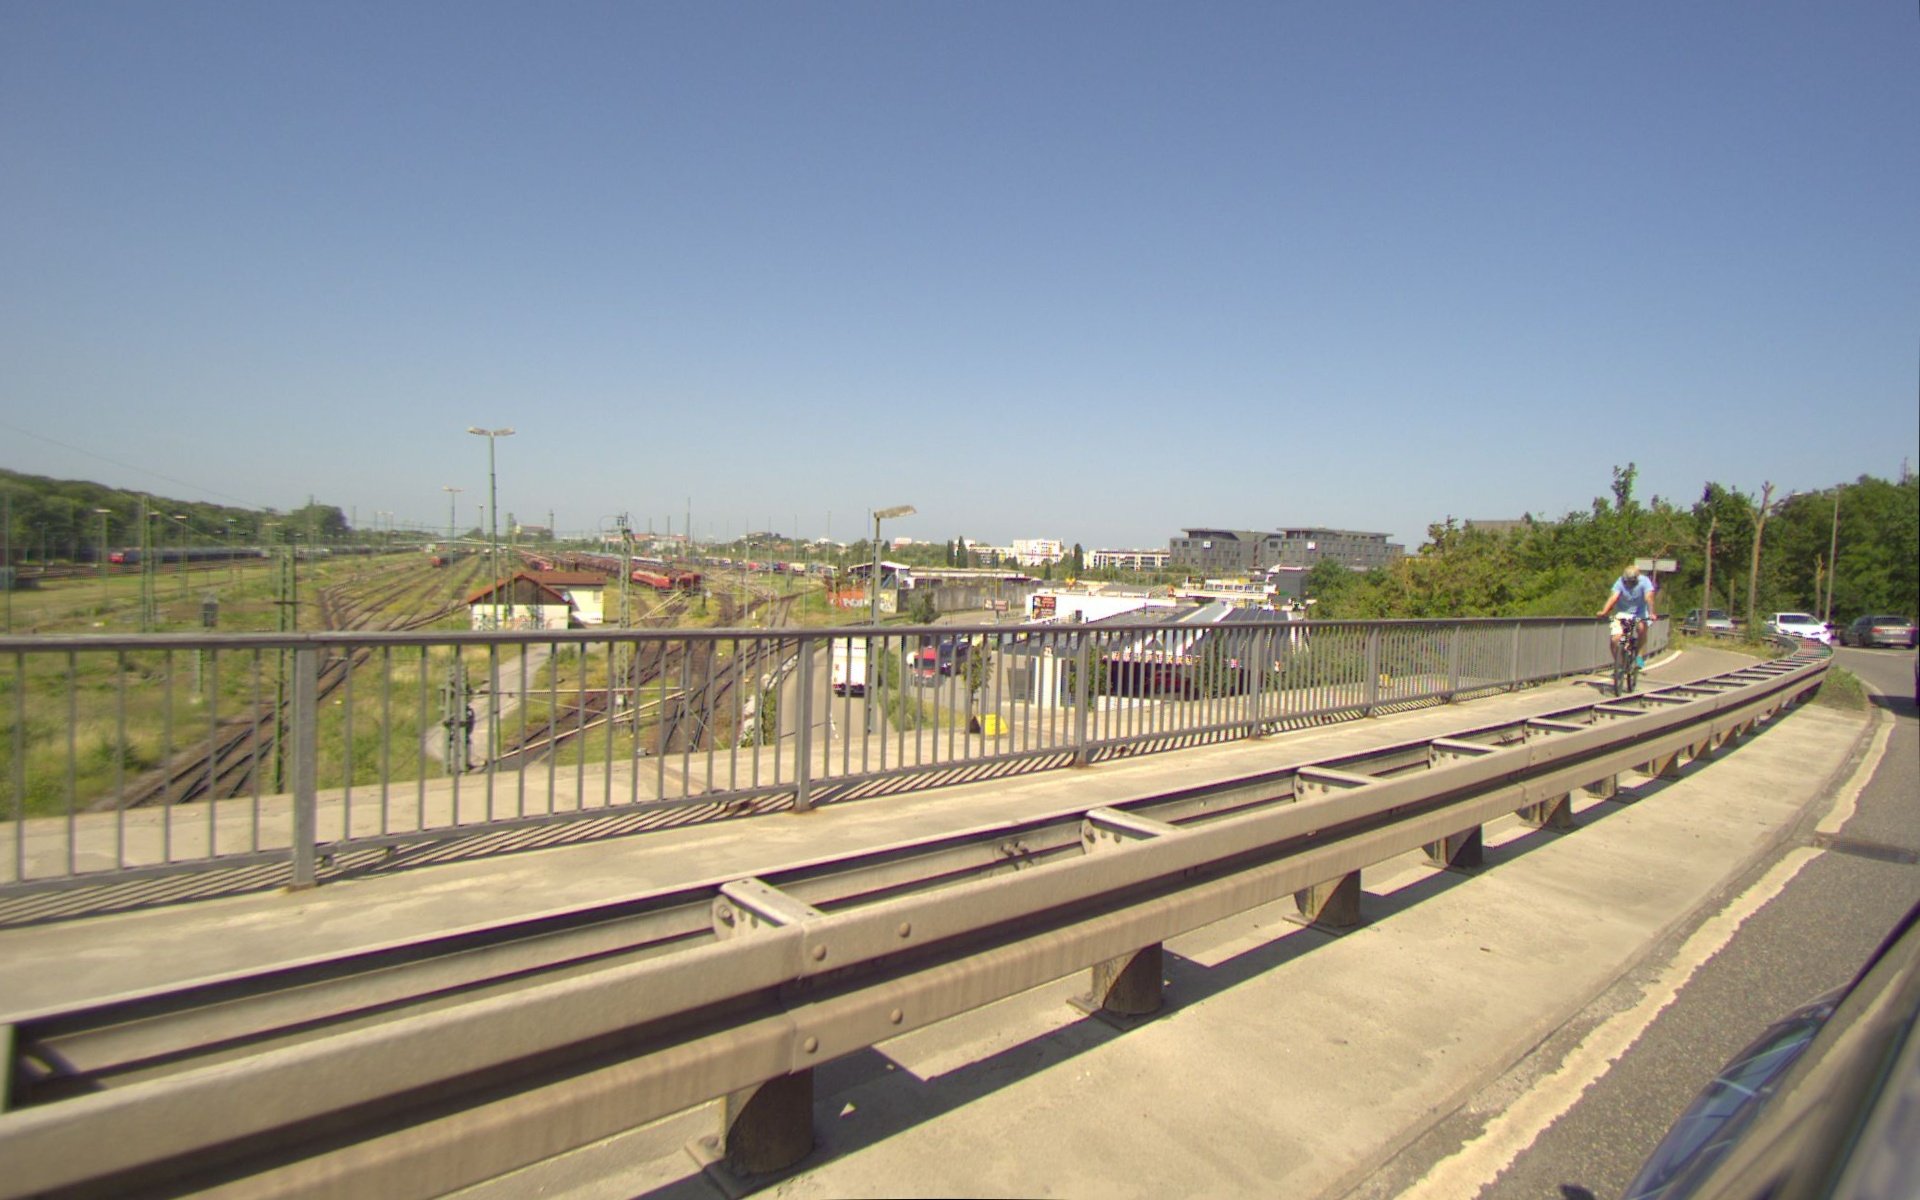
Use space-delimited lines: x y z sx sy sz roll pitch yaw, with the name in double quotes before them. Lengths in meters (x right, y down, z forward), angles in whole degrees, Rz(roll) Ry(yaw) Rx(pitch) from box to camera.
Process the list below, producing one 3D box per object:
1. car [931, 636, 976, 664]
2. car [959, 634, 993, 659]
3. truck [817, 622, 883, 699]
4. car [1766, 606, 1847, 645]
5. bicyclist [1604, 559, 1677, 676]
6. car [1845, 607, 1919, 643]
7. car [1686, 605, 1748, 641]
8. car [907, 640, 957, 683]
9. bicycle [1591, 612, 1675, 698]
"car" -0.509 4.134 84.056 2.275 1.695 5.355 -4 1 15
"car" 1.451 4.130 90.321 1.971 1.895 3.980 -4 -1 15
"truck" -7.745 4.145 73.262 3.748 4.078 13.282 3 2 -3
"car" 35.864 1.039 42.989 1.830 1.507 4.110 1 0 28
"bicyclist" 9.487 0.220 14.108 0.658 1.538 0.791 6 4 40
"car" 39.348 1.032 43.011 1.707 1.415 4.140 1 1 28
"car" 41.315 1.214 55.308 1.981 1.604 3.963 -5 0 28
"car" -2.100 4.718 77.909 2.275 2.696 5.354 -4 1 15
"bicycle" 9.266 0.718 13.902 0.702 1.032 1.819 6 4 40
